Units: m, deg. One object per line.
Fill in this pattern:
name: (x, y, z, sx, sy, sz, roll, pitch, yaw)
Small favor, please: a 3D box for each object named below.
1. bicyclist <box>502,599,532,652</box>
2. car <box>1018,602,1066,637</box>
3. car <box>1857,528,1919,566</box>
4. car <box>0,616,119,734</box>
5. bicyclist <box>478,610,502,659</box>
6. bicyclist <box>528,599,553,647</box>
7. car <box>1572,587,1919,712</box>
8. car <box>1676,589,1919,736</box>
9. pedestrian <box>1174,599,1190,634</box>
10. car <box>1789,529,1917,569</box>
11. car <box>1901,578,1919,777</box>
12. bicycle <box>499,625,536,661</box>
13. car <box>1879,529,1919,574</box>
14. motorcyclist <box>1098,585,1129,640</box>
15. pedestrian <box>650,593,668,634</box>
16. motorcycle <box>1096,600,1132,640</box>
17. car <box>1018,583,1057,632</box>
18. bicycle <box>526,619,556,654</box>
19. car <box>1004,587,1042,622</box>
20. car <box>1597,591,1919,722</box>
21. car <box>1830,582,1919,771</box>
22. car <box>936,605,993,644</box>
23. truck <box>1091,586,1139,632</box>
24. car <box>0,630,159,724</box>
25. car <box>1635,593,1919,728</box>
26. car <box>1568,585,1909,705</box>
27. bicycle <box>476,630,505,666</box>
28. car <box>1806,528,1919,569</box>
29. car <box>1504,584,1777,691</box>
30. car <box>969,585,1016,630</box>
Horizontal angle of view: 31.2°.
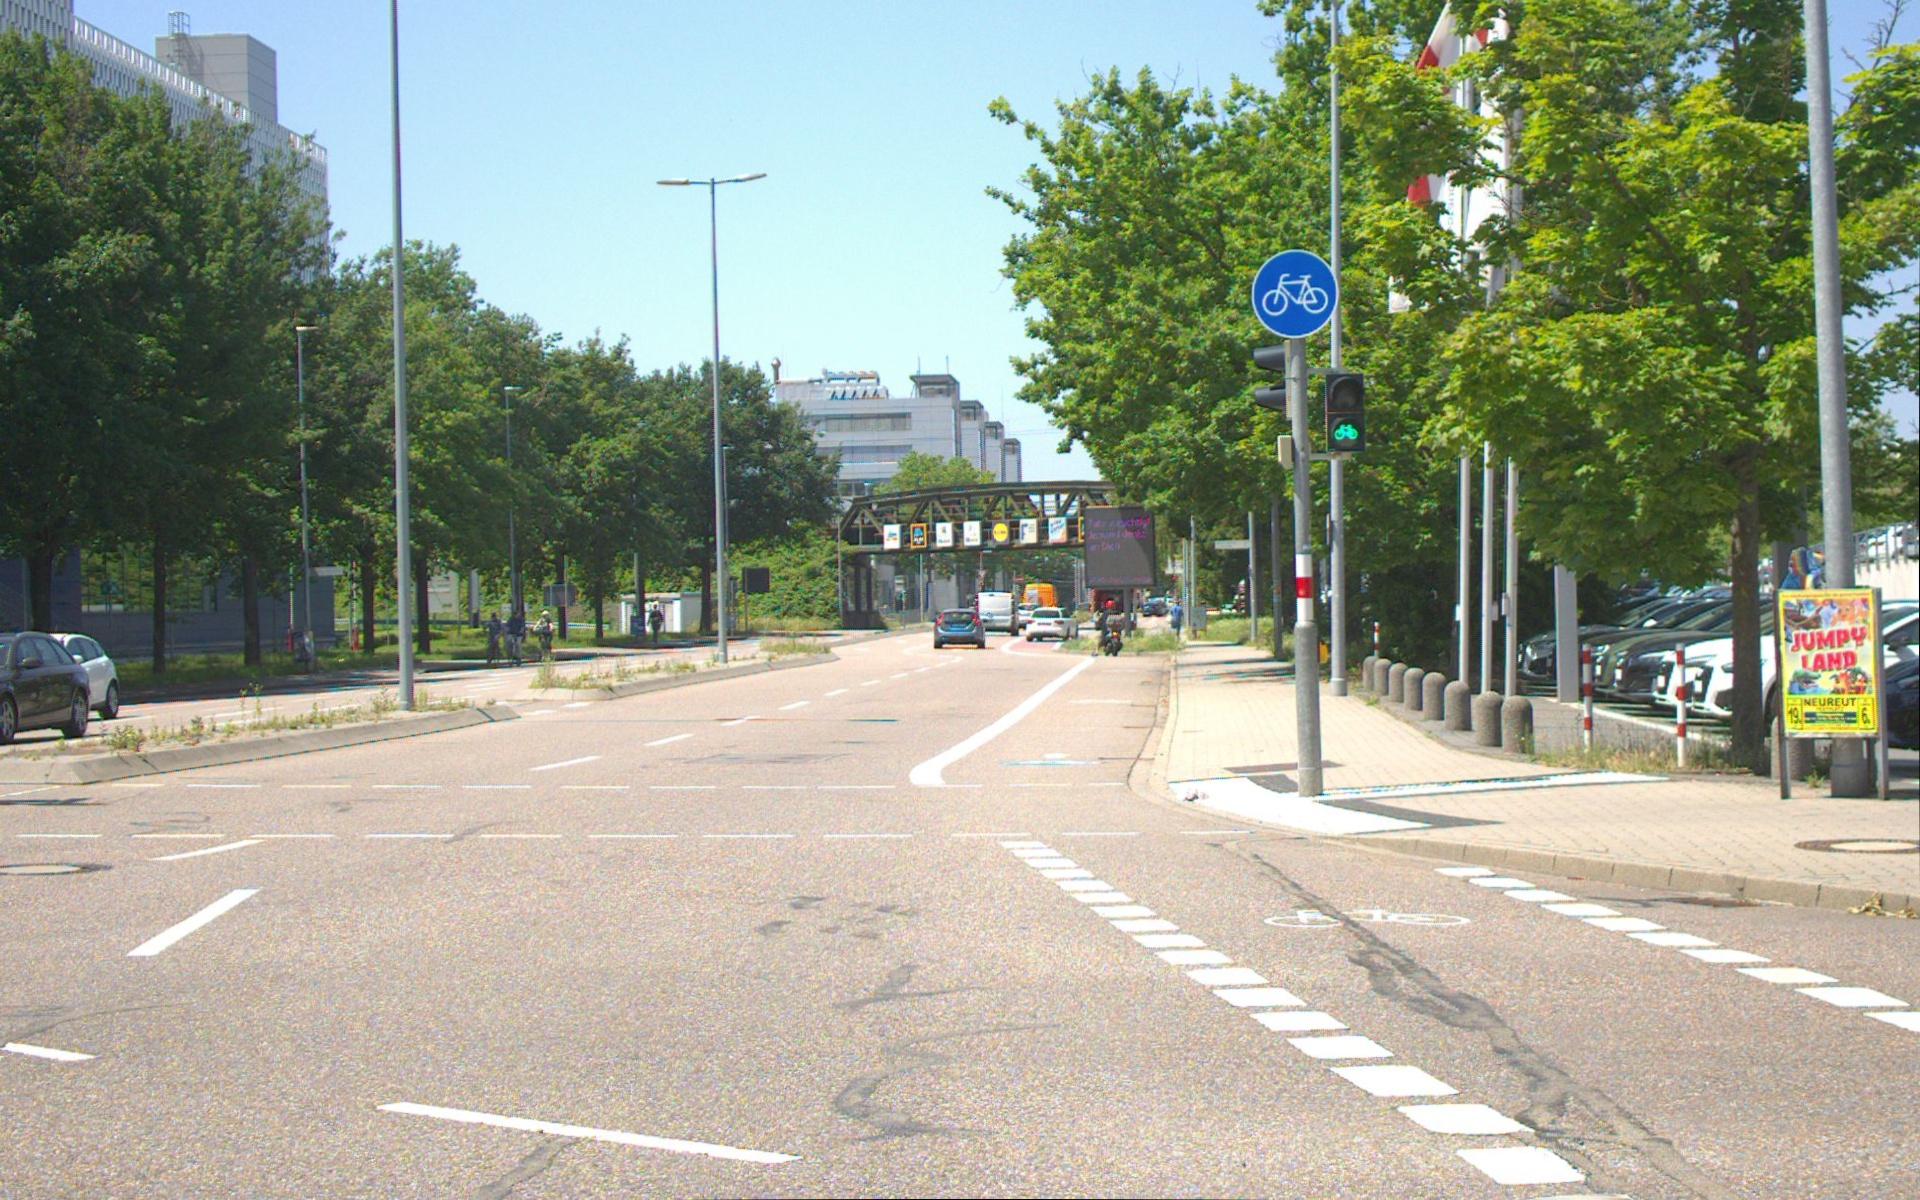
bicyclist: (-14.236, 0.831, 110.511, 0.745, 1.680, 0.952, -1, 0, 3)
car: (3.450, 0.815, 144.725, 1.924, 1.415, 4.000, 0, 0, 3)
car: (30.960, -1.698, 110.206, 3.939, 1.207, 1.717, 0, 0, 0)
car: (-12.361, 0.962, 43.580, 1.727, 1.441, 4.718, -3, -1, 6)
bicyclist: (-15.365, 1.134, 112.385, 0.637, 1.577, 0.884, -1, 0, 1)
bicyclist: (-14.567, 0.802, 119.344, 0.634, 1.623, 1.044, -3, 0, 3)
car: (9.737, 0.596, 42.407, 4.101, 1.400, 1.869, 1, 0, 4)
car: (9.289, 0.625, 33.935, 4.096, 1.360, 1.874, 1, 0, 4)
pedestrian: (8.914, 0.662, 137.960, 0.623, 1.370, 0.564, -1, 0, 2)
car: (31.337, -1.776, 120.665, 3.987, 1.307, 1.797, -1, 0, -1)
car: (8.972, 0.596, 23.548, 4.593, 1.385, 1.868, 1, 0, 6)
bicycle: (-14.225, 1.384, 110.545, 0.739, 1.121, 2.434, -1, 0, 3)
car: (30.277, -1.455, 104.847, 3.987, 1.307, 1.797, 1, 0, 0)
motorcyclist: (4.307, 0.348, 96.644, 0.719, 1.524, 0.871, 1, 0, -6)
pedestrian: (-14.037, 0.621, 160.480, 0.744, 1.878, 0.577, -1, 0, 4)
motorcycle: (4.322, 0.565, 96.613, 0.716, 1.101, 1.830, 1, 0, -6)
car: (4.623, 0.426, 203.832, 2.073, 2.845, 6.764, -1, 0, 3)
bicycle: (-14.542, 1.253, 119.398, 0.629, 1.155, 2.117, -3, 0, 3)
car: (3.466, 0.234, 188.077, 1.895, 1.809, 4.000, -1, 0, 3)
car: (9.574, 0.644, 39.433, 4.226, 1.385, 1.869, 1, 0, 4)
car: (8.877, 0.610, 26.105, 4.096, 1.385, 1.869, 1, 0, 4)
car: (0.191, 0.892, 126.645, 1.900, 1.371, 4.231, -1, 0, 3)
truck: (8.416, 0.447, 185.655, 2.459, 2.402, 7.133, 1, 0, 3)
car: (-14.891, 1.263, 57.395, 1.726, 1.441, 4.451, -3, -1, 3)
car: (9.445, 0.645, 36.866, 4.100, 1.344, 1.869, 1, 0, 4)
car: (10.218, 0.579, 45.359, 4.101, 1.448, 1.869, 1, 0, 4)
bicycle: (-15.365, 1.566, 112.509, 0.637, 1.130, 1.970, -1, 0, 0)
car: (31.087, -1.742, 117.235, 3.987, 1.307, 1.797, 1, 0, 0)
car: (9.929, 0.538, 50.354, 3.682, 1.448, 1.833, 1, 0, 4)
car: (1.508, 0.333, 158.375, 1.994, 2.007, 4.000, -1, 0, 3)
